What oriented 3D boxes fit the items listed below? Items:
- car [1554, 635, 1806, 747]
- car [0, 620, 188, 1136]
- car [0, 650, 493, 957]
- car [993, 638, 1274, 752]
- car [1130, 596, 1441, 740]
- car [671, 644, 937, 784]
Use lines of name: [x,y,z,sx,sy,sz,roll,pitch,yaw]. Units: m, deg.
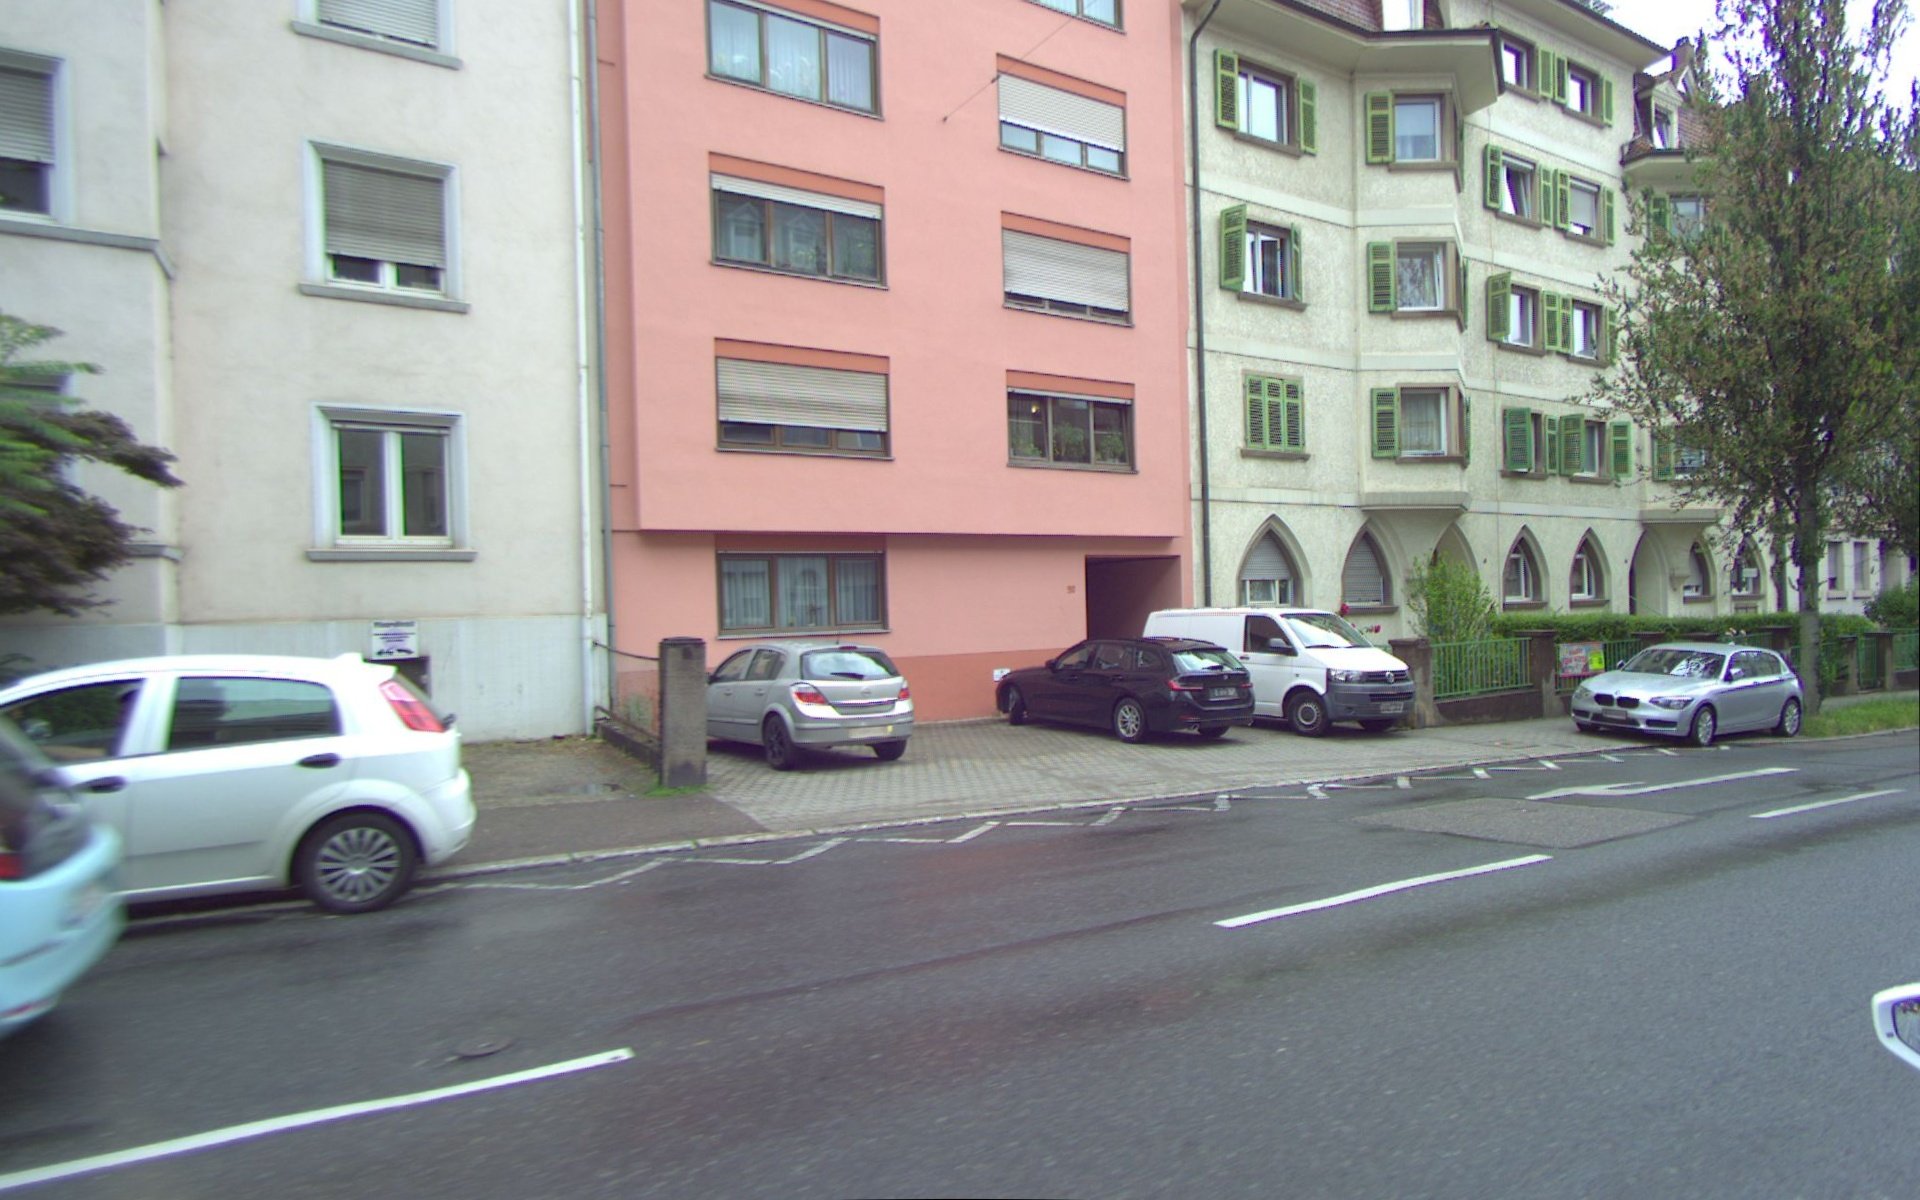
car: [11.402,1.354,15.862,3.941,1.503,1.718,2,0,-29]
car: [-4.693,0.856,2.872,3.711,1.527,1.629,1,-4,-30]
car: [-4.935,1.057,5.808,3.956,1.465,1.614,1,-2,-30]
car: [2.450,1.317,15.339,1.772,1.471,4.408,1,-2,-32]
car: [5.130,1.042,16.609,2.023,2.000,4.808,1,-2,-29]
car: [-2.124,1.310,12.818,1.775,1.476,3.854,1,-3,-37]
